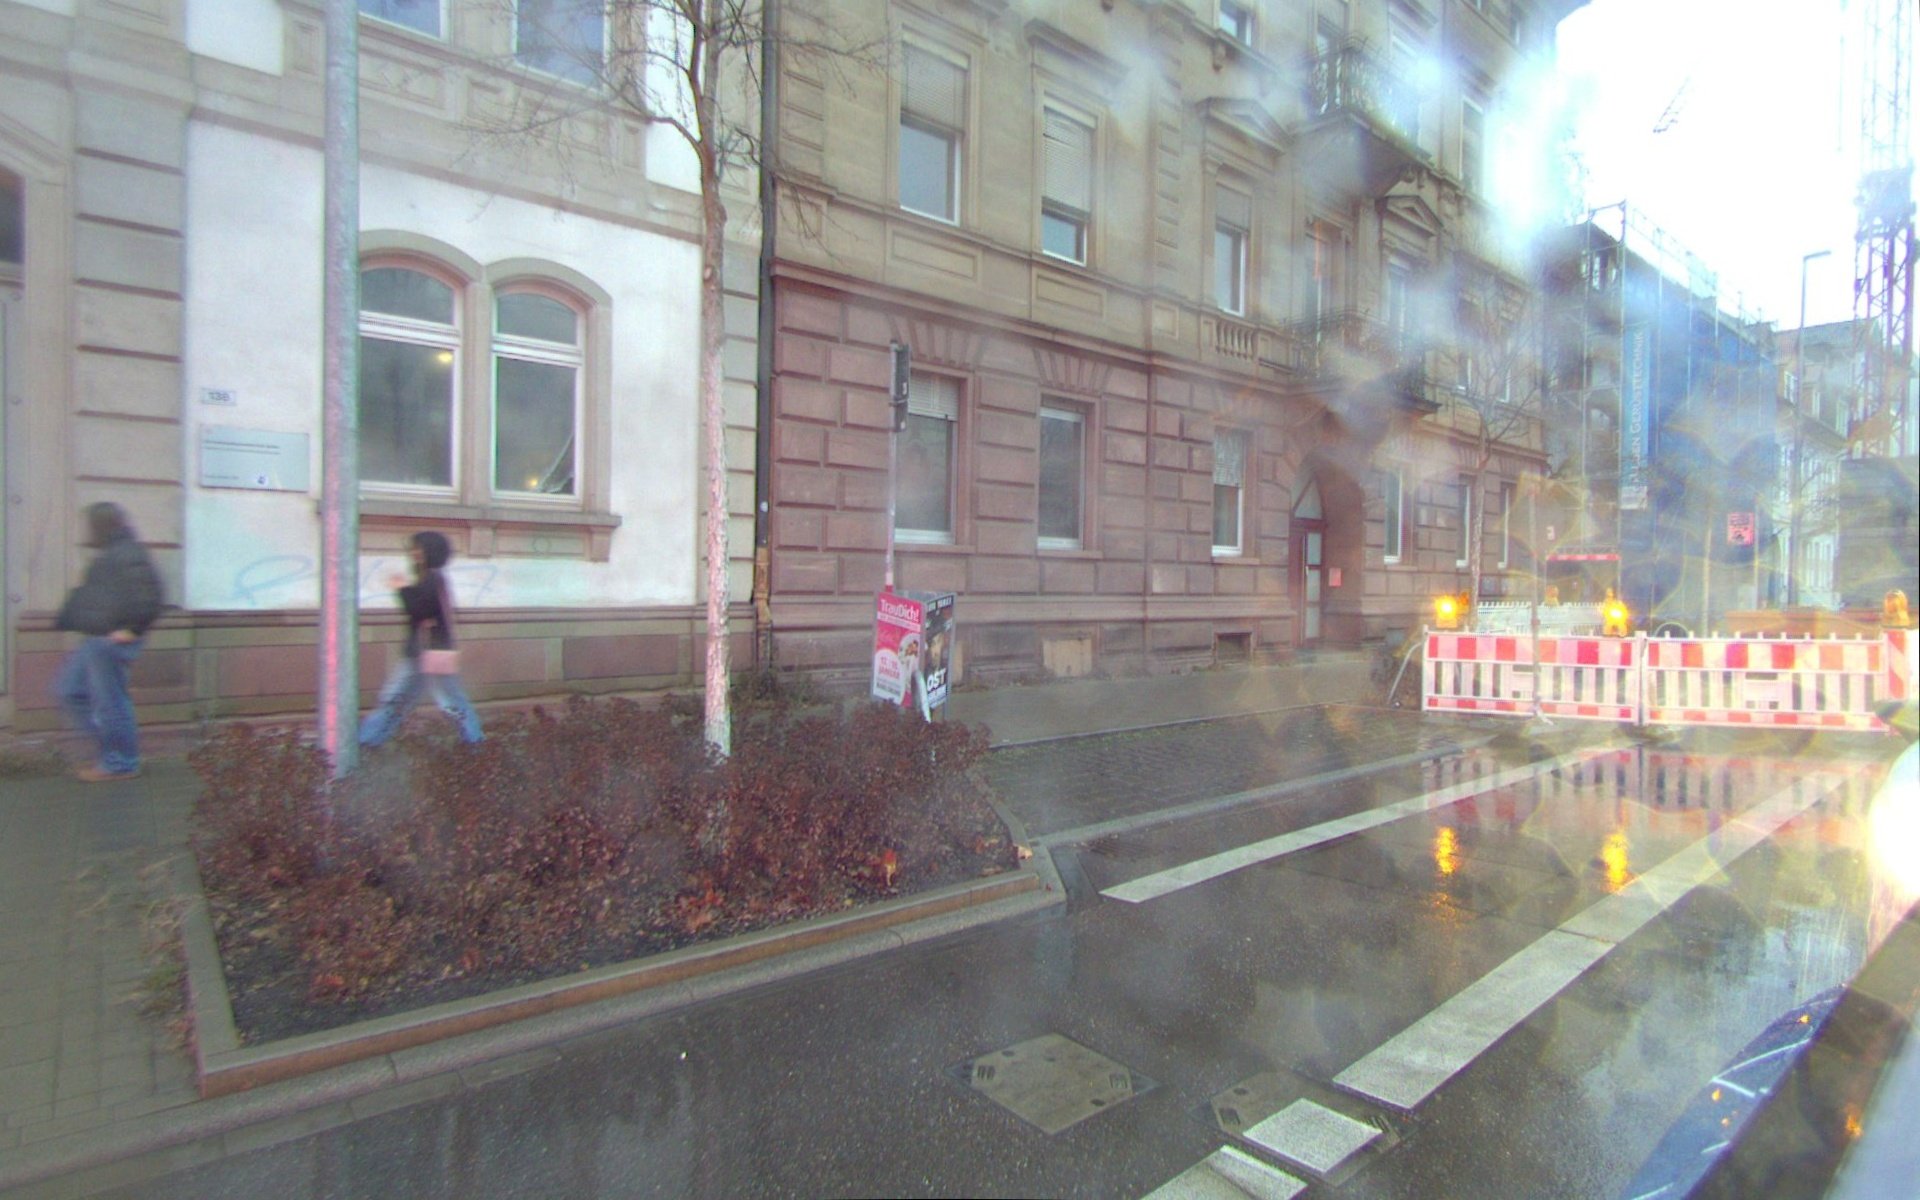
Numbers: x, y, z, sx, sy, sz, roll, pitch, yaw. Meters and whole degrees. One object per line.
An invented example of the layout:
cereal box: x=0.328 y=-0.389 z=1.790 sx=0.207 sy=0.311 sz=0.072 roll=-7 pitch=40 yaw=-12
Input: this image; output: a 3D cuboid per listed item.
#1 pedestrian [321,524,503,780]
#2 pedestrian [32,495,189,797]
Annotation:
pedestrian: x=-3.684 y=0.301 z=6.795 sx=0.913 sy=1.564 sz=0.870 roll=0 pitch=2 yaw=-40
pedestrian: x=-5.190 y=0.243 z=6.222 sx=0.694 sy=1.693 sz=0.870 roll=0 pitch=2 yaw=-39
